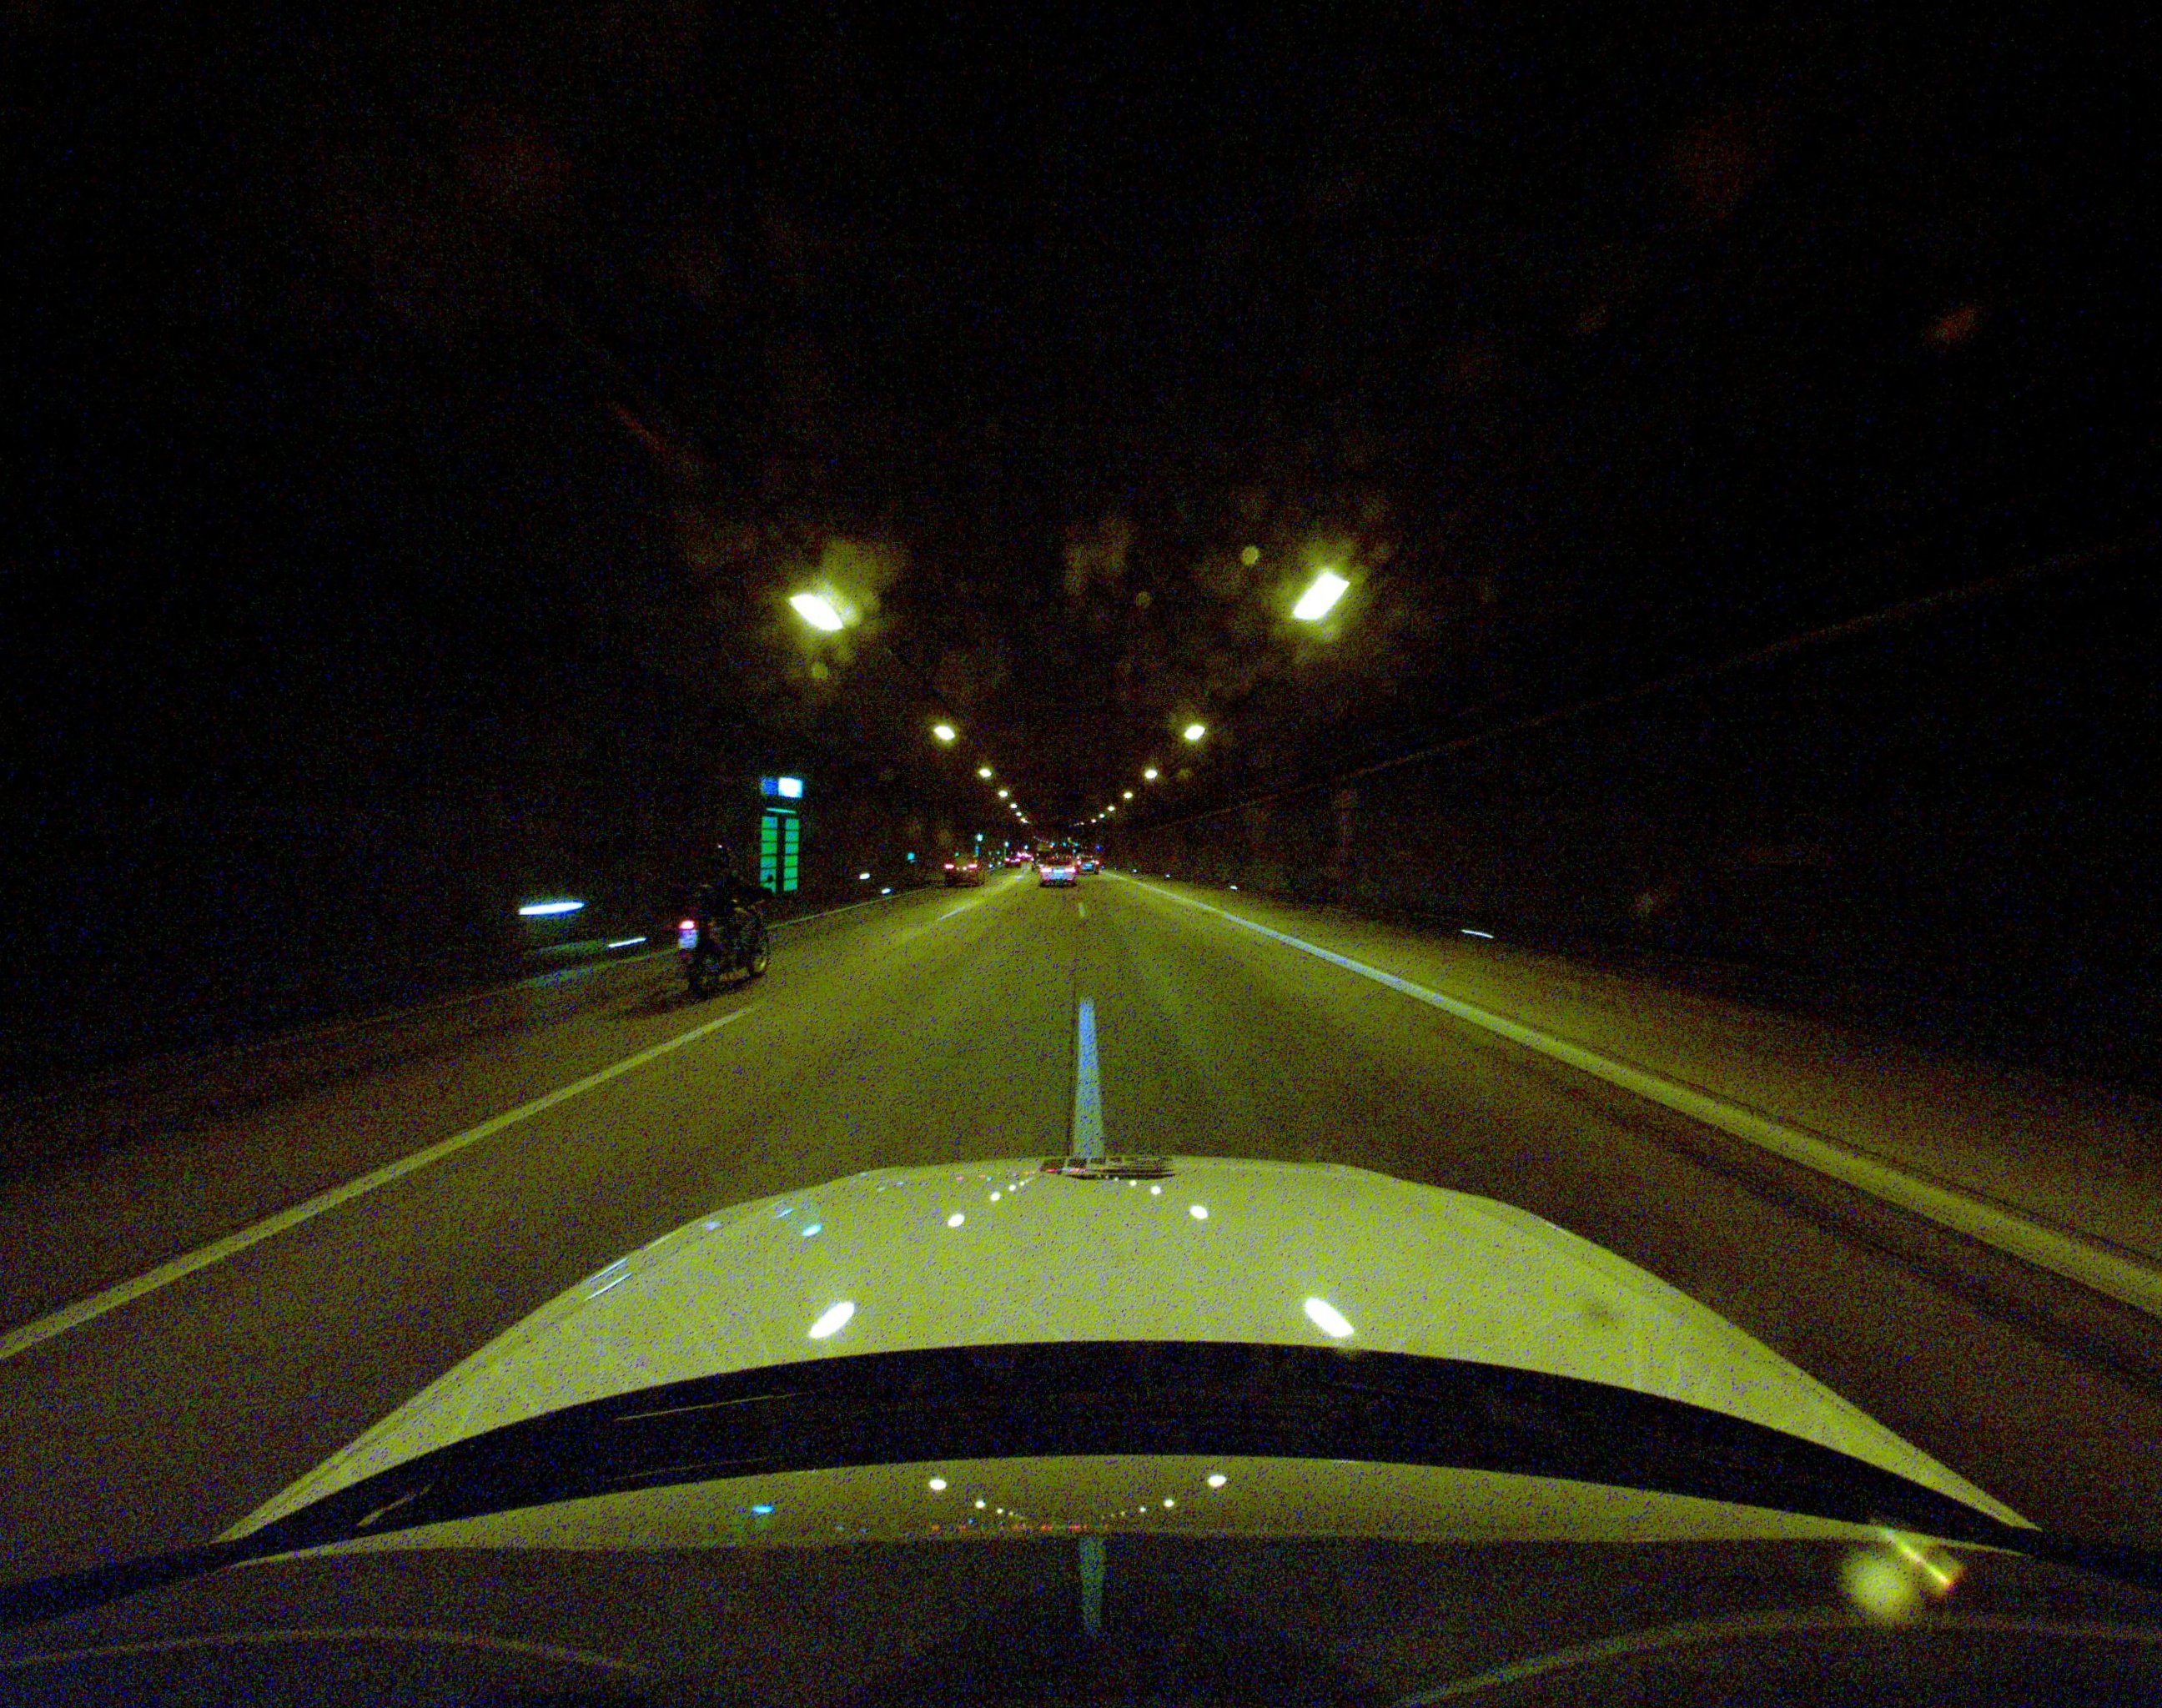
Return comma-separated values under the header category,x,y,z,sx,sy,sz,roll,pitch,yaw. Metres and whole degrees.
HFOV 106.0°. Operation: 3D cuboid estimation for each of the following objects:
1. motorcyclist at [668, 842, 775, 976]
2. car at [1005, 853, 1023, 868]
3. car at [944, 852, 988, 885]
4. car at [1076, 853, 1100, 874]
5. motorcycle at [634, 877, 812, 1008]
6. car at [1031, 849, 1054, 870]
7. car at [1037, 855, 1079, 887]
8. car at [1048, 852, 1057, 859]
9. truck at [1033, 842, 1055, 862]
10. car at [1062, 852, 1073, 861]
category,x,y,z,sx,sy,sz,roll,pitch,yaw
motorcyclist,-4.177,0.615,9.525,0.835,1.477,0.822,-1,0,3
car,-7.638,0.709,92.635,1.796,1.684,3.996,-1,0,-2
car,-5.906,0.717,42.051,1.781,1.598,3.799,-1,0,-2
car,0.602,0.764,66.291,1.833,1.602,4.000,-1,0,1
motorcycle,-4.143,0.959,9.746,0.842,1.245,2.606,-1,0,3
car,-3.705,0.557,78.653,1.987,1.972,4.000,-1,-1,0
car,-1.155,0.797,40.647,1.988,1.483,3.997,-1,0,-2
car,-6.575,0.372,188.233,1.989,1.754,3.996,0,-1,-3
truck,-5.969,-0.372,133.813,3.073,3.113,10.028,0,1,0
car,-2.687,0.468,156.582,1.989,1.754,3.996,0,-1,-3
